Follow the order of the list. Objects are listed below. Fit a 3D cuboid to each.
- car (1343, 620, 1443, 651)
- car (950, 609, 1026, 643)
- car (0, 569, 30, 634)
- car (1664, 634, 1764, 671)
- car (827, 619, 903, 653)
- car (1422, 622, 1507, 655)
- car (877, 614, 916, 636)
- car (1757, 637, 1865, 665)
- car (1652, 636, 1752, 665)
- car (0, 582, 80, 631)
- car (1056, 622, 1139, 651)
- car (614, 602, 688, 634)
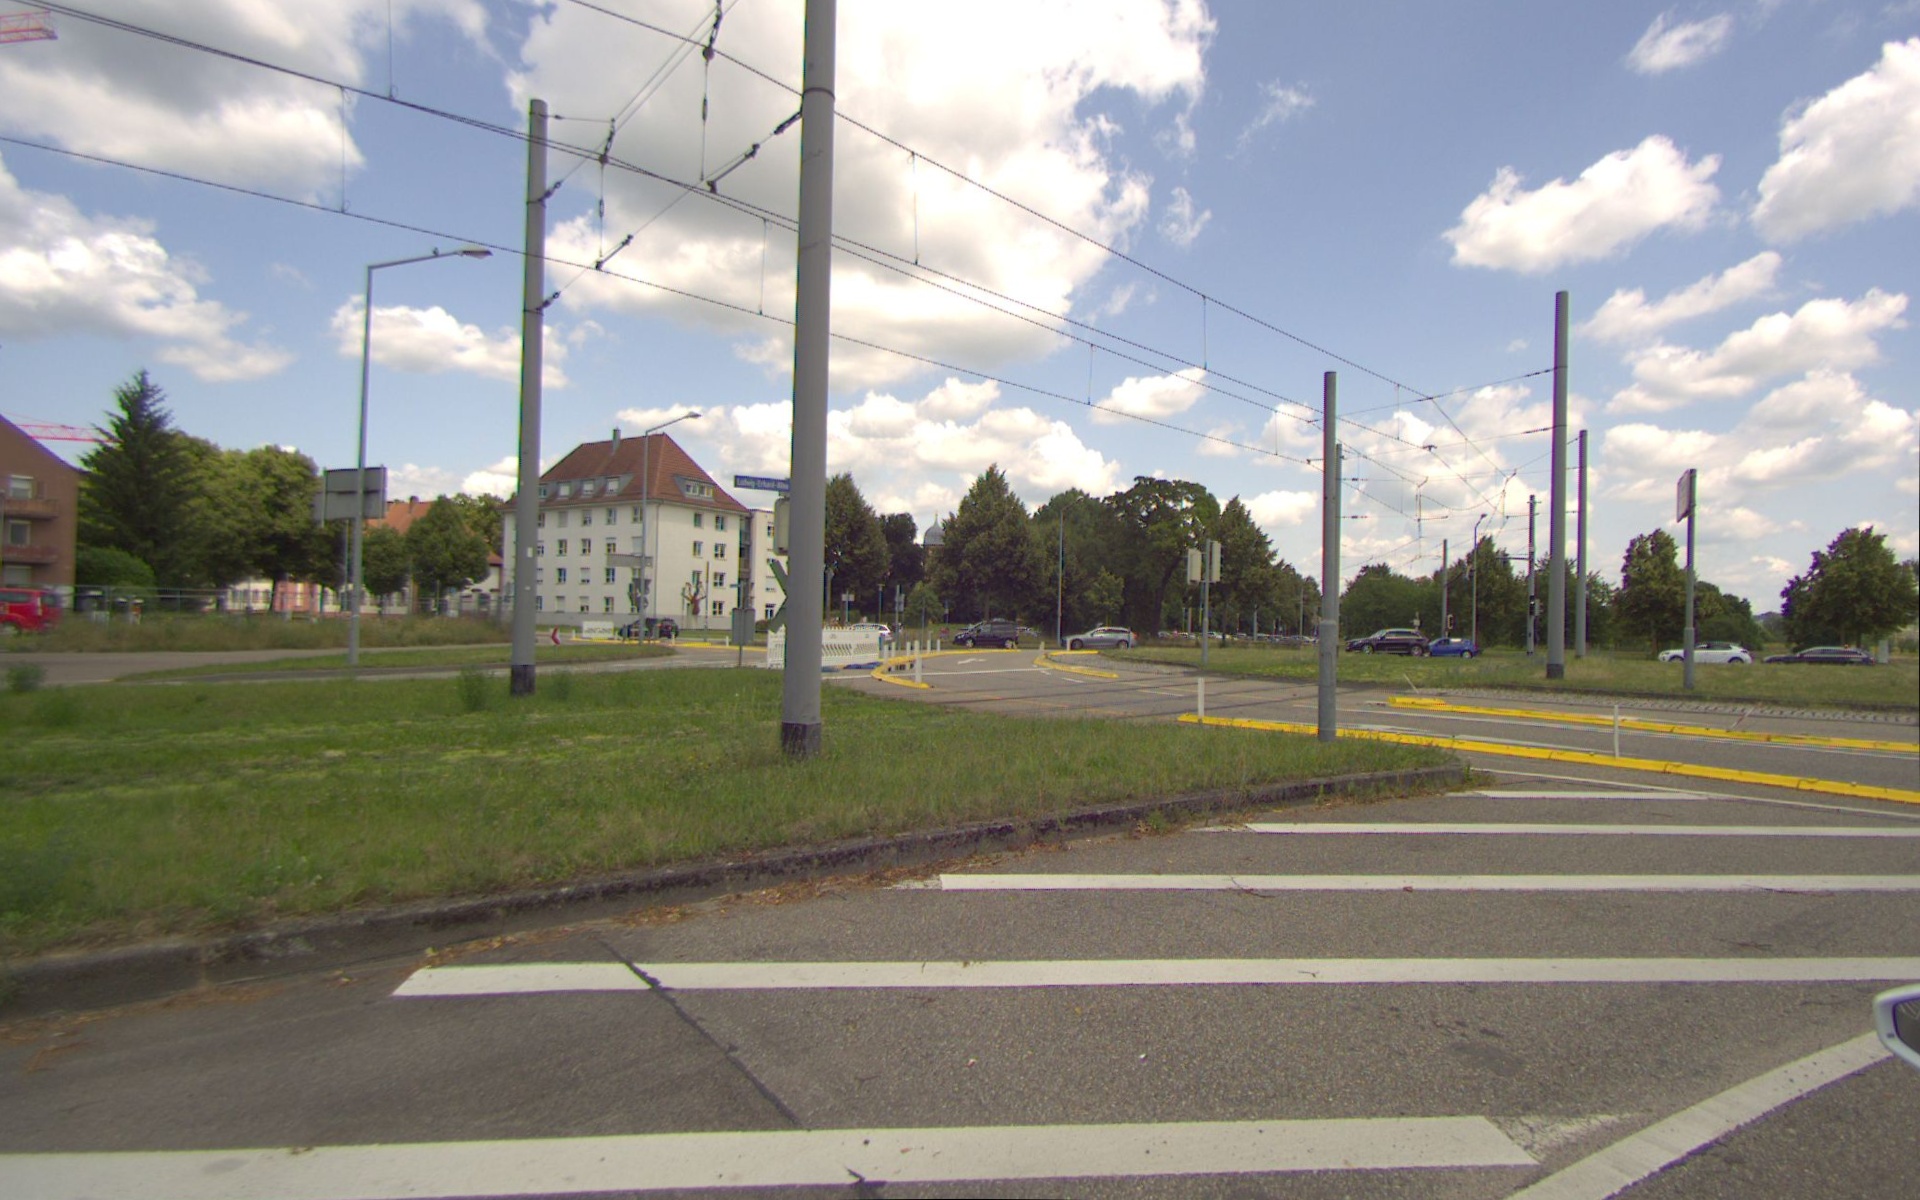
[{"bbox_3d":[25.288,2.071,58.841,4.968,1.697,2.001,1,-1,4],"label":"car"},{"bbox_3d":[1.751,1.642,64.154,4.636,2.040,1.998,1,-1,-6],"label":"car"},{"bbox_3d":[-35.961,-0.034,33.603,6.722,2.226,2.388,1,-1,-14],"label":"car"},{"bbox_3d":[45.726,3.144,61.045,4.642,2.040,1.996,1,-1,31],"label":"car"},{"bbox_3d":[-5.982,2.249,63.666,4.635,2.040,1.999,1,-1,-4],"label":"car"},{"bbox_3d":[33.314,2.541,66.433,4.630,1.815,1.849,2,3,14],"label":"car"},{"bbox_3d":[-5.953,2.368,94.528,1.963,2.040,3.995,1,-1,27],"label":"car"},{"bbox_3d":[46.551,2.772,55.006,4.427,1.340,1.944,0,-1,42],"label":"car"},{"bbox_3d":[39.731,2.681,53.878,4.242,1.347,1.993,1,-1,37],"label":"car"},{"bbox_3d":[-38.774,0.222,40.029,5.103,1.877,2.079,2,-1,-19],"label":"car"},{"bbox_3d":[8.635,2.310,63.435,4.849,1.648,2.065,1,1,-4],"label":"car"},{"bbox_3d":[-20.825,1.233,67.654,4.638,2.040,1.997,1,-1,28],"label":"car"}]
